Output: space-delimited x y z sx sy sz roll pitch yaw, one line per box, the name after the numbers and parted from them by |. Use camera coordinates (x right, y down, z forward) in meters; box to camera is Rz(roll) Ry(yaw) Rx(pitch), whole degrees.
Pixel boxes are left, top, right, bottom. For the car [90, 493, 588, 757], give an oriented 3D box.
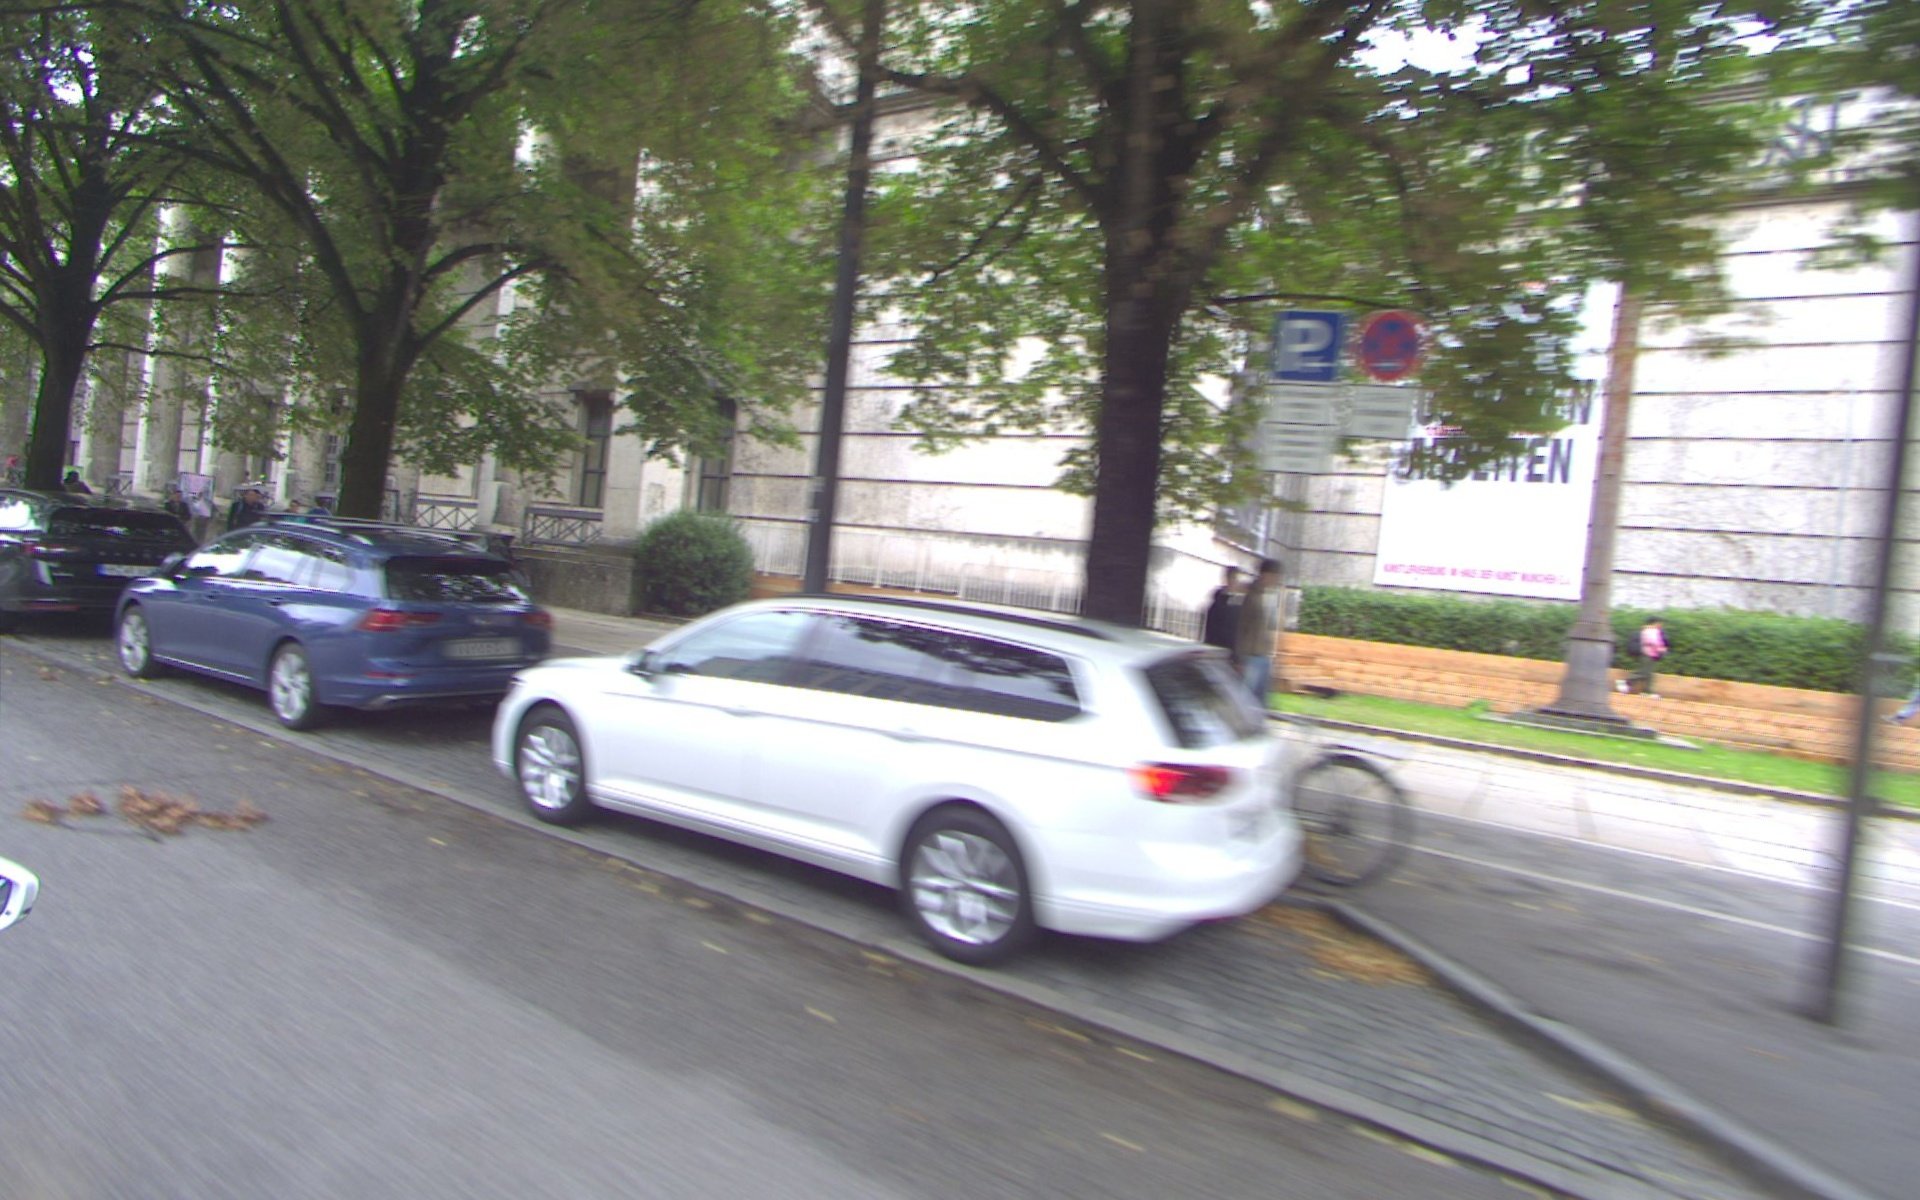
-5.398 0.082 8.543 4.510 1.569 1.725 7 1 32 | car

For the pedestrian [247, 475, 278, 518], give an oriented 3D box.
-24.260 -3.593 34.997 0.635 1.390 0.567 7 0 32 | pedestrian

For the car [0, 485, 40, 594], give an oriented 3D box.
-15.129 -1.057 14.425 3.961 1.483 1.824 7 1 32 | car

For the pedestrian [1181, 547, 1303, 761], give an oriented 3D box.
2.751 0.524 9.793 0.758 1.933 0.765 7 0 32 | pedestrian

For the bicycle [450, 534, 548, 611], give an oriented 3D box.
-10.060 -0.611 21.912 2.261 1.433 0.700 7 1 32 | bicycle

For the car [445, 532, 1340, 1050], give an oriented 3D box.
-0.595 0.646 5.584 4.673 1.569 1.829 7 1 32 | car

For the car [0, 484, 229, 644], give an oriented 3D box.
-10.532 -0.526 11.597 4.697 1.483 1.725 7 1 32 | car

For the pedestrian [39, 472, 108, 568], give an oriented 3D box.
-19.151 -1.726 21.740 0.758 1.933 0.780 7 0 32 | pedestrian

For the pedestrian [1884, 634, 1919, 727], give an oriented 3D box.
16.104 1.368 16.806 0.758 1.512 0.487 7 0 32 | pedestrian

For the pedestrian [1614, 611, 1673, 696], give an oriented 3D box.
12.985 1.014 19.130 0.758 1.512 0.487 7 0 32 | pedestrian

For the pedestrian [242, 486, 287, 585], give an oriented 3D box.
-14.276 -1.323 20.645 0.526 1.933 0.644 7 0 -39 | pedestrian

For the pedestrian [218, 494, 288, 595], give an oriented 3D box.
-14.603 -1.143 20.780 0.758 1.933 0.780 7 0 32 | pedestrian

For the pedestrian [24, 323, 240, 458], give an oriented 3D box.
-16.476 -4.088 19.988 3.934 2.038 1.997 7 -1 32 | pedestrian

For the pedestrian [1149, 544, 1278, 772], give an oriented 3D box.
2.317 0.519 9.172 0.758 1.933 0.700 7 0 32 | pedestrian

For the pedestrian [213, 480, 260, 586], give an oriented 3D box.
-13.829 -1.280 19.220 0.526 1.933 0.644 7 0 -39 | pedestrian

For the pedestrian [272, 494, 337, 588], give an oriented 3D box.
-14.482 -1.297 22.233 0.758 1.933 0.780 7 0 32 | pedestrian

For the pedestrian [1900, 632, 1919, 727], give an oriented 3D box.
15.903 1.331 16.303 0.758 1.512 0.487 7 0 32 | pedestrian

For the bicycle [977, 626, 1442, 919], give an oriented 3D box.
1.446 0.946 6.166 2.574 1.246 0.629 7 0 30 | bicycle
